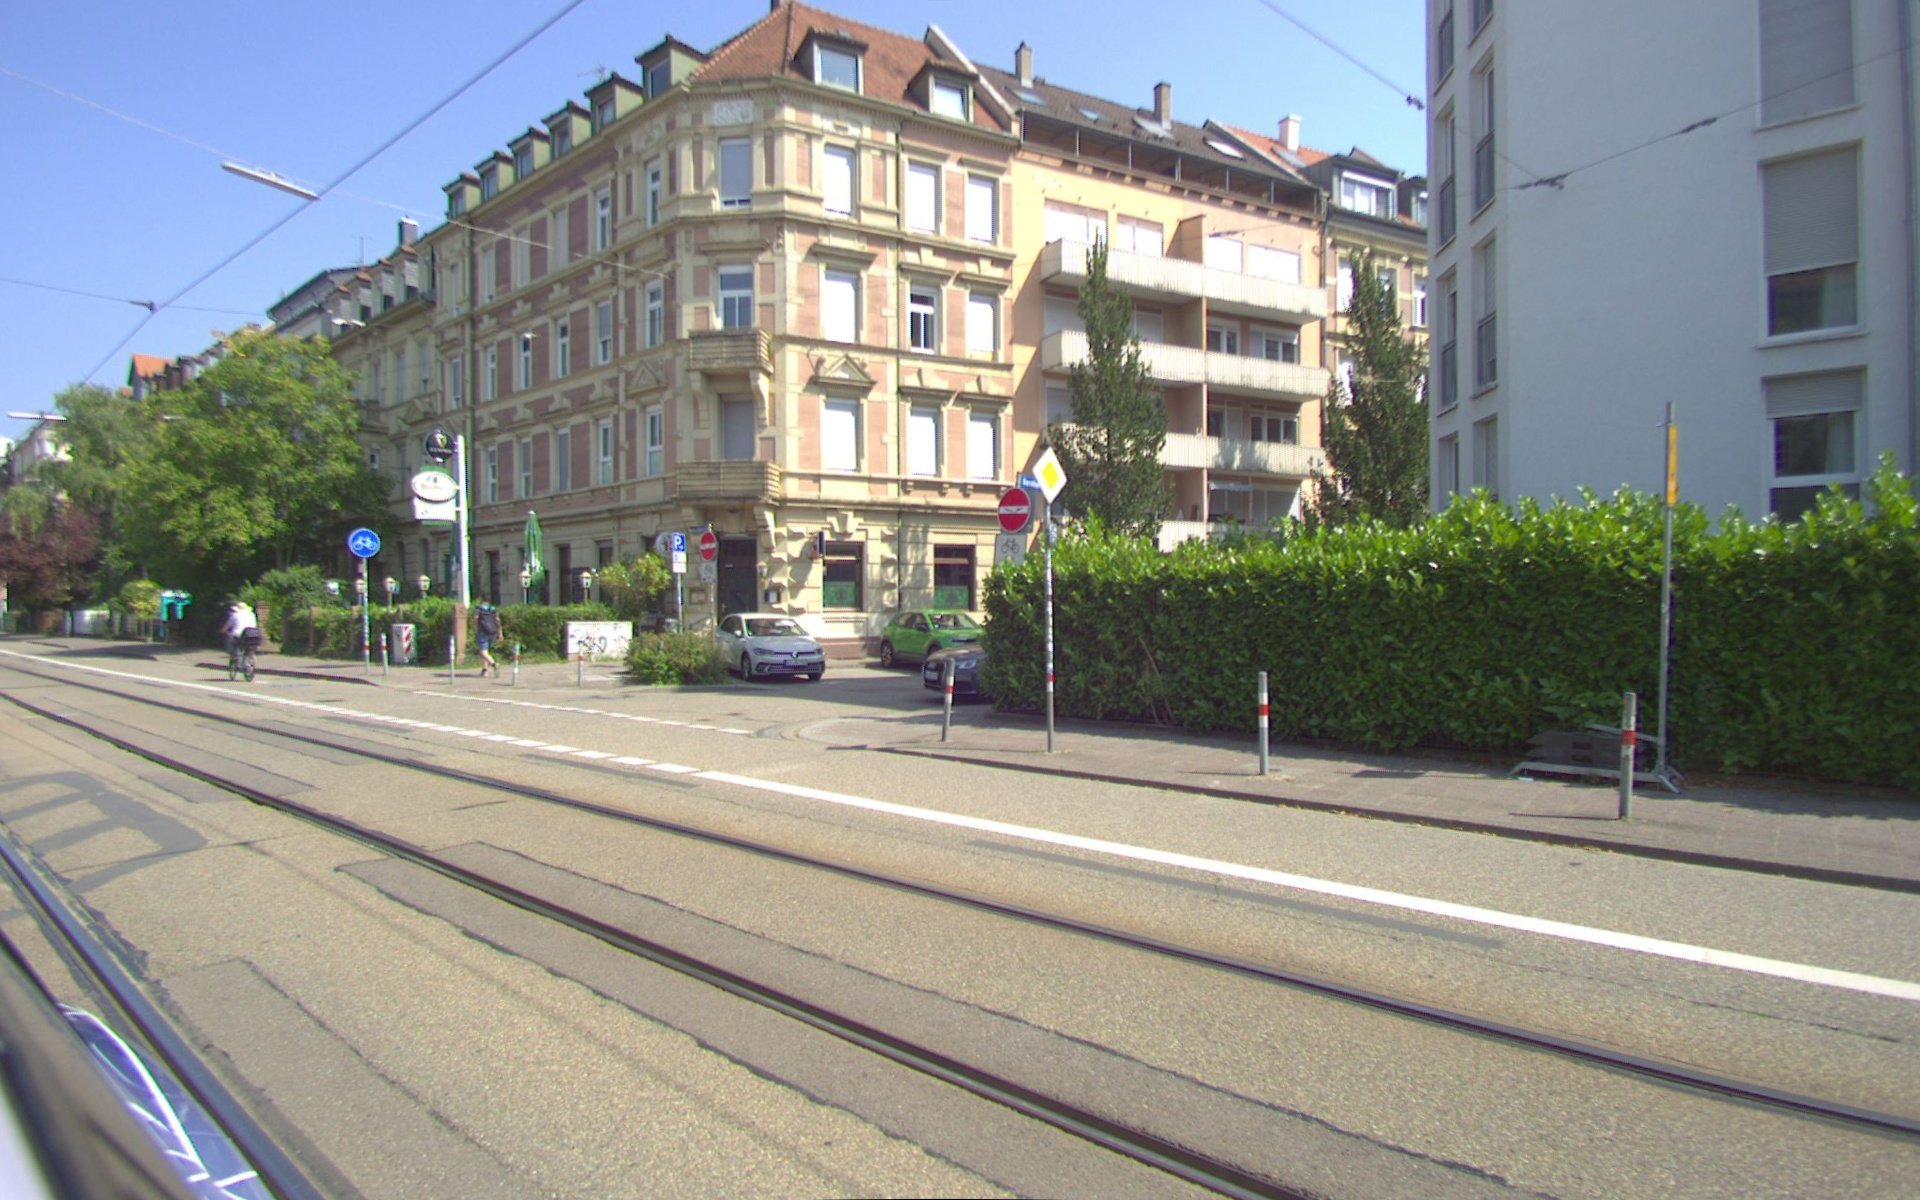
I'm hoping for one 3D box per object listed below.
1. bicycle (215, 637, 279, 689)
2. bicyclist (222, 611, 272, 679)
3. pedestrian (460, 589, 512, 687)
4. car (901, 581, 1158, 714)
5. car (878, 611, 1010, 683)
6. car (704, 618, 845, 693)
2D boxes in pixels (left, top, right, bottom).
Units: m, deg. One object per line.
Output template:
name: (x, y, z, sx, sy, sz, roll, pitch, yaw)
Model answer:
bicycle: (-15.615, 1.362, 22.146, 1.913, 1.085, 0.634, -2, -2, 39)
bicyclist: (-15.591, 0.969, 22.135, 0.973, 1.439, 0.649, -2, -2, 39)
pedestrian: (-10.077, 0.800, 21.505, 0.973, 2.029, 0.649, -2, -2, 39)
car: (1.191, 0.718, 17.187, 3.931, 2.003, 1.897, -1, 0, -28)
car: (-0.470, 1.080, 25.014, 1.709, 1.586, 3.752, -1, 0, -28)
car: (-4.282, 1.185, 22.847, 1.965, 1.500, 4.157, 0, -1, -28)
